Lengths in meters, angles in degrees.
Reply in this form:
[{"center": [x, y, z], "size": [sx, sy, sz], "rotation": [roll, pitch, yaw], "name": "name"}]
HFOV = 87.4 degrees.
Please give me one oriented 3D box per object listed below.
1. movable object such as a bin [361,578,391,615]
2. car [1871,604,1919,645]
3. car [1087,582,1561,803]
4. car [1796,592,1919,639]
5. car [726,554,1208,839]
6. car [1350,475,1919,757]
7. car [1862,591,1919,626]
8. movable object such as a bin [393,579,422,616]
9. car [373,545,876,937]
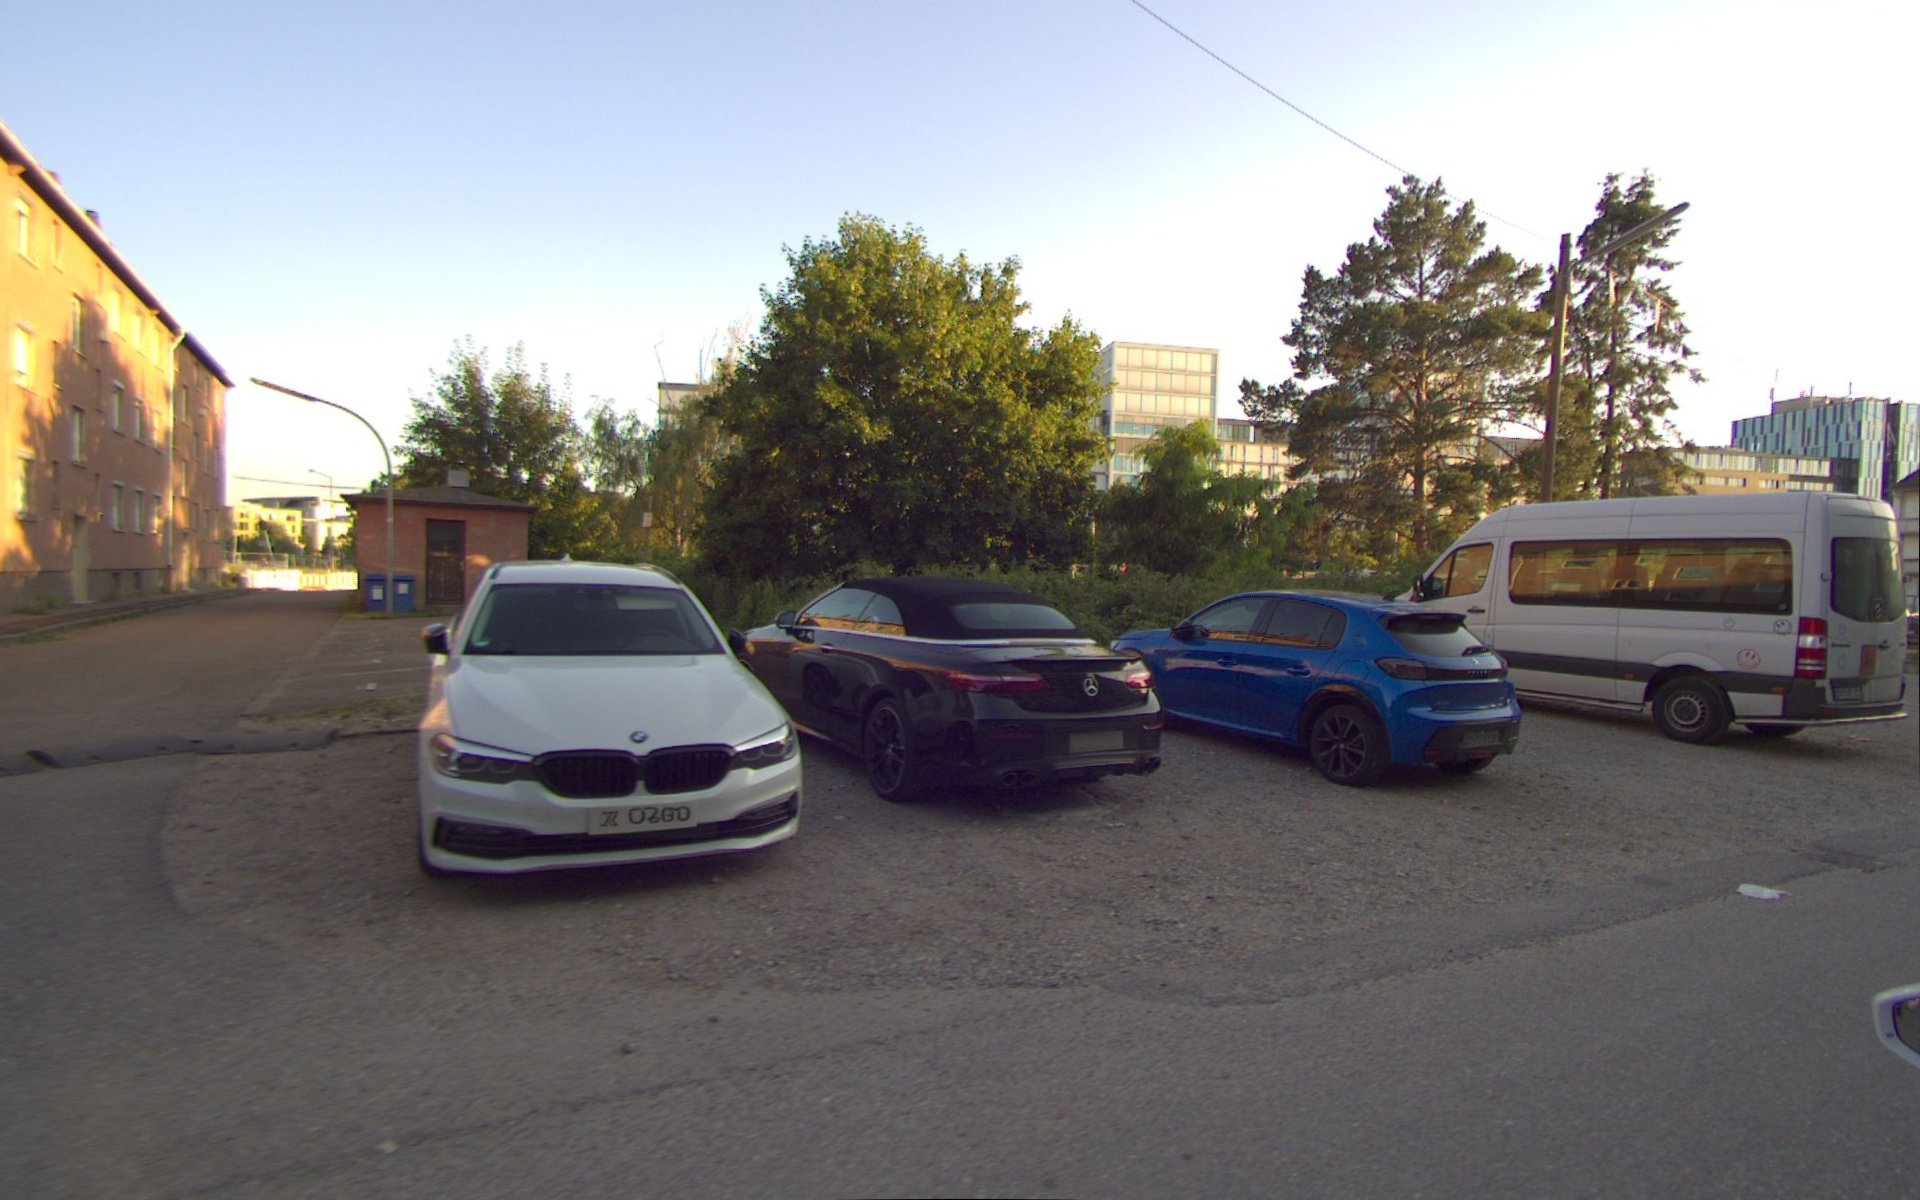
[{"center": [-15.099, -0.089, 25.986], "size": [0.637, 0.915, 0.608], "rotation": [1, 2, -29], "name": "movable object such as a bin"}, {"center": [42.797, 1.115, 44.197], "size": [4.984, 1.675, 2.008], "rotation": [1, 1, -22], "name": "car"}, {"center": [3.036, 0.640, 9.166], "size": [1.708, 1.449, 3.816], "rotation": [1, 2, -31], "name": "car"}, {"center": [42.090, 0.733, 47.103], "size": [4.984, 2.041, 2.303], "rotation": [1, 1, -22], "name": "car"}, {"center": [-0.290, 0.472, 7.948], "size": [1.708, 1.565, 4.391], "rotation": [1, 2, -32], "name": "car"}, {"center": [7.956, 0.053, 12.519], "size": [2.193, 2.661, 5.667], "rotation": [1, 2, -27], "name": "car"}, {"center": [58.955, 0.548, 62.272], "size": [4.980, 2.041, 2.305], "rotation": [2, 1, -19], "name": "car"}, {"center": [-14.492, -0.067, 26.359], "size": [0.637, 0.915, 0.608], "rotation": [1, 2, -29], "name": "movable object such as a bin"}, {"center": [-2.414, 0.479, 6.702], "size": [2.087, 1.565, 4.978], "rotation": [1, 2, -25], "name": "car"}]
